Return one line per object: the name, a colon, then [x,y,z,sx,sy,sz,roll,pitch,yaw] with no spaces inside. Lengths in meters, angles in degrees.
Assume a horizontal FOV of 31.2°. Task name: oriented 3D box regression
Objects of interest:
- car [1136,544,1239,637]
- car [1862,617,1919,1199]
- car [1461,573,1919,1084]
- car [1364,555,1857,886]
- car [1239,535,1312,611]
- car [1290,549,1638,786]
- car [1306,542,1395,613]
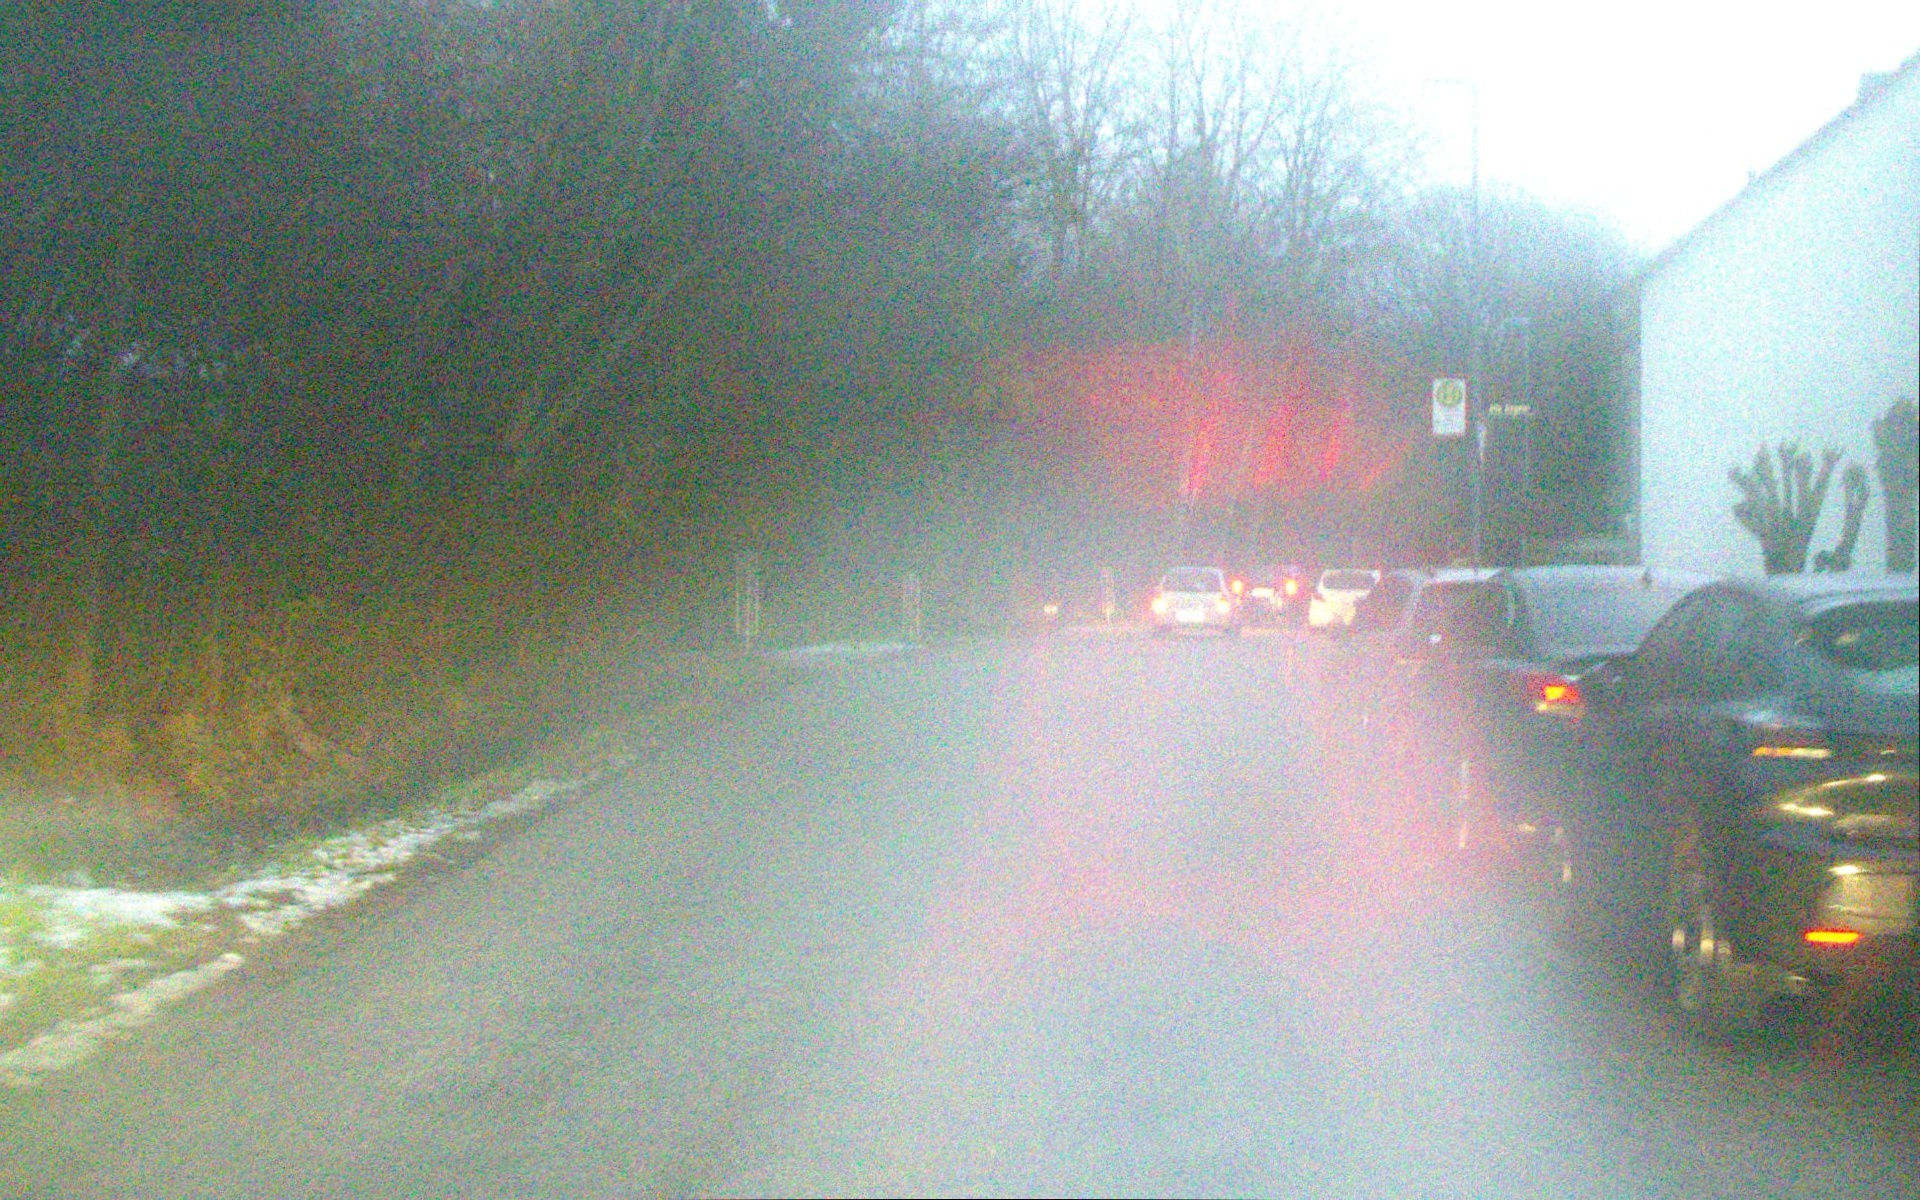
car: [4.557,-0.218,69.396,1.933,1.775,4.000,-1,1,2]
car: [3.008,0.748,6.289,1.655,1.385,4.123,-1,1,1]
car: [2.836,0.620,11.816,1.655,1.385,4.532,-1,1,1]
car: [3.151,0.508,17.523,1.655,1.424,4.564,1,1,1]
car: [7.578,-0.675,82.562,1.690,1.768,3.860,-1,1,5]
car: [3.343,0.393,23.586,1.738,1.424,4.457,1,1,1]
car: [8.650,-0.505,75.961,1.704,1.501,4.023,1,1,10]
